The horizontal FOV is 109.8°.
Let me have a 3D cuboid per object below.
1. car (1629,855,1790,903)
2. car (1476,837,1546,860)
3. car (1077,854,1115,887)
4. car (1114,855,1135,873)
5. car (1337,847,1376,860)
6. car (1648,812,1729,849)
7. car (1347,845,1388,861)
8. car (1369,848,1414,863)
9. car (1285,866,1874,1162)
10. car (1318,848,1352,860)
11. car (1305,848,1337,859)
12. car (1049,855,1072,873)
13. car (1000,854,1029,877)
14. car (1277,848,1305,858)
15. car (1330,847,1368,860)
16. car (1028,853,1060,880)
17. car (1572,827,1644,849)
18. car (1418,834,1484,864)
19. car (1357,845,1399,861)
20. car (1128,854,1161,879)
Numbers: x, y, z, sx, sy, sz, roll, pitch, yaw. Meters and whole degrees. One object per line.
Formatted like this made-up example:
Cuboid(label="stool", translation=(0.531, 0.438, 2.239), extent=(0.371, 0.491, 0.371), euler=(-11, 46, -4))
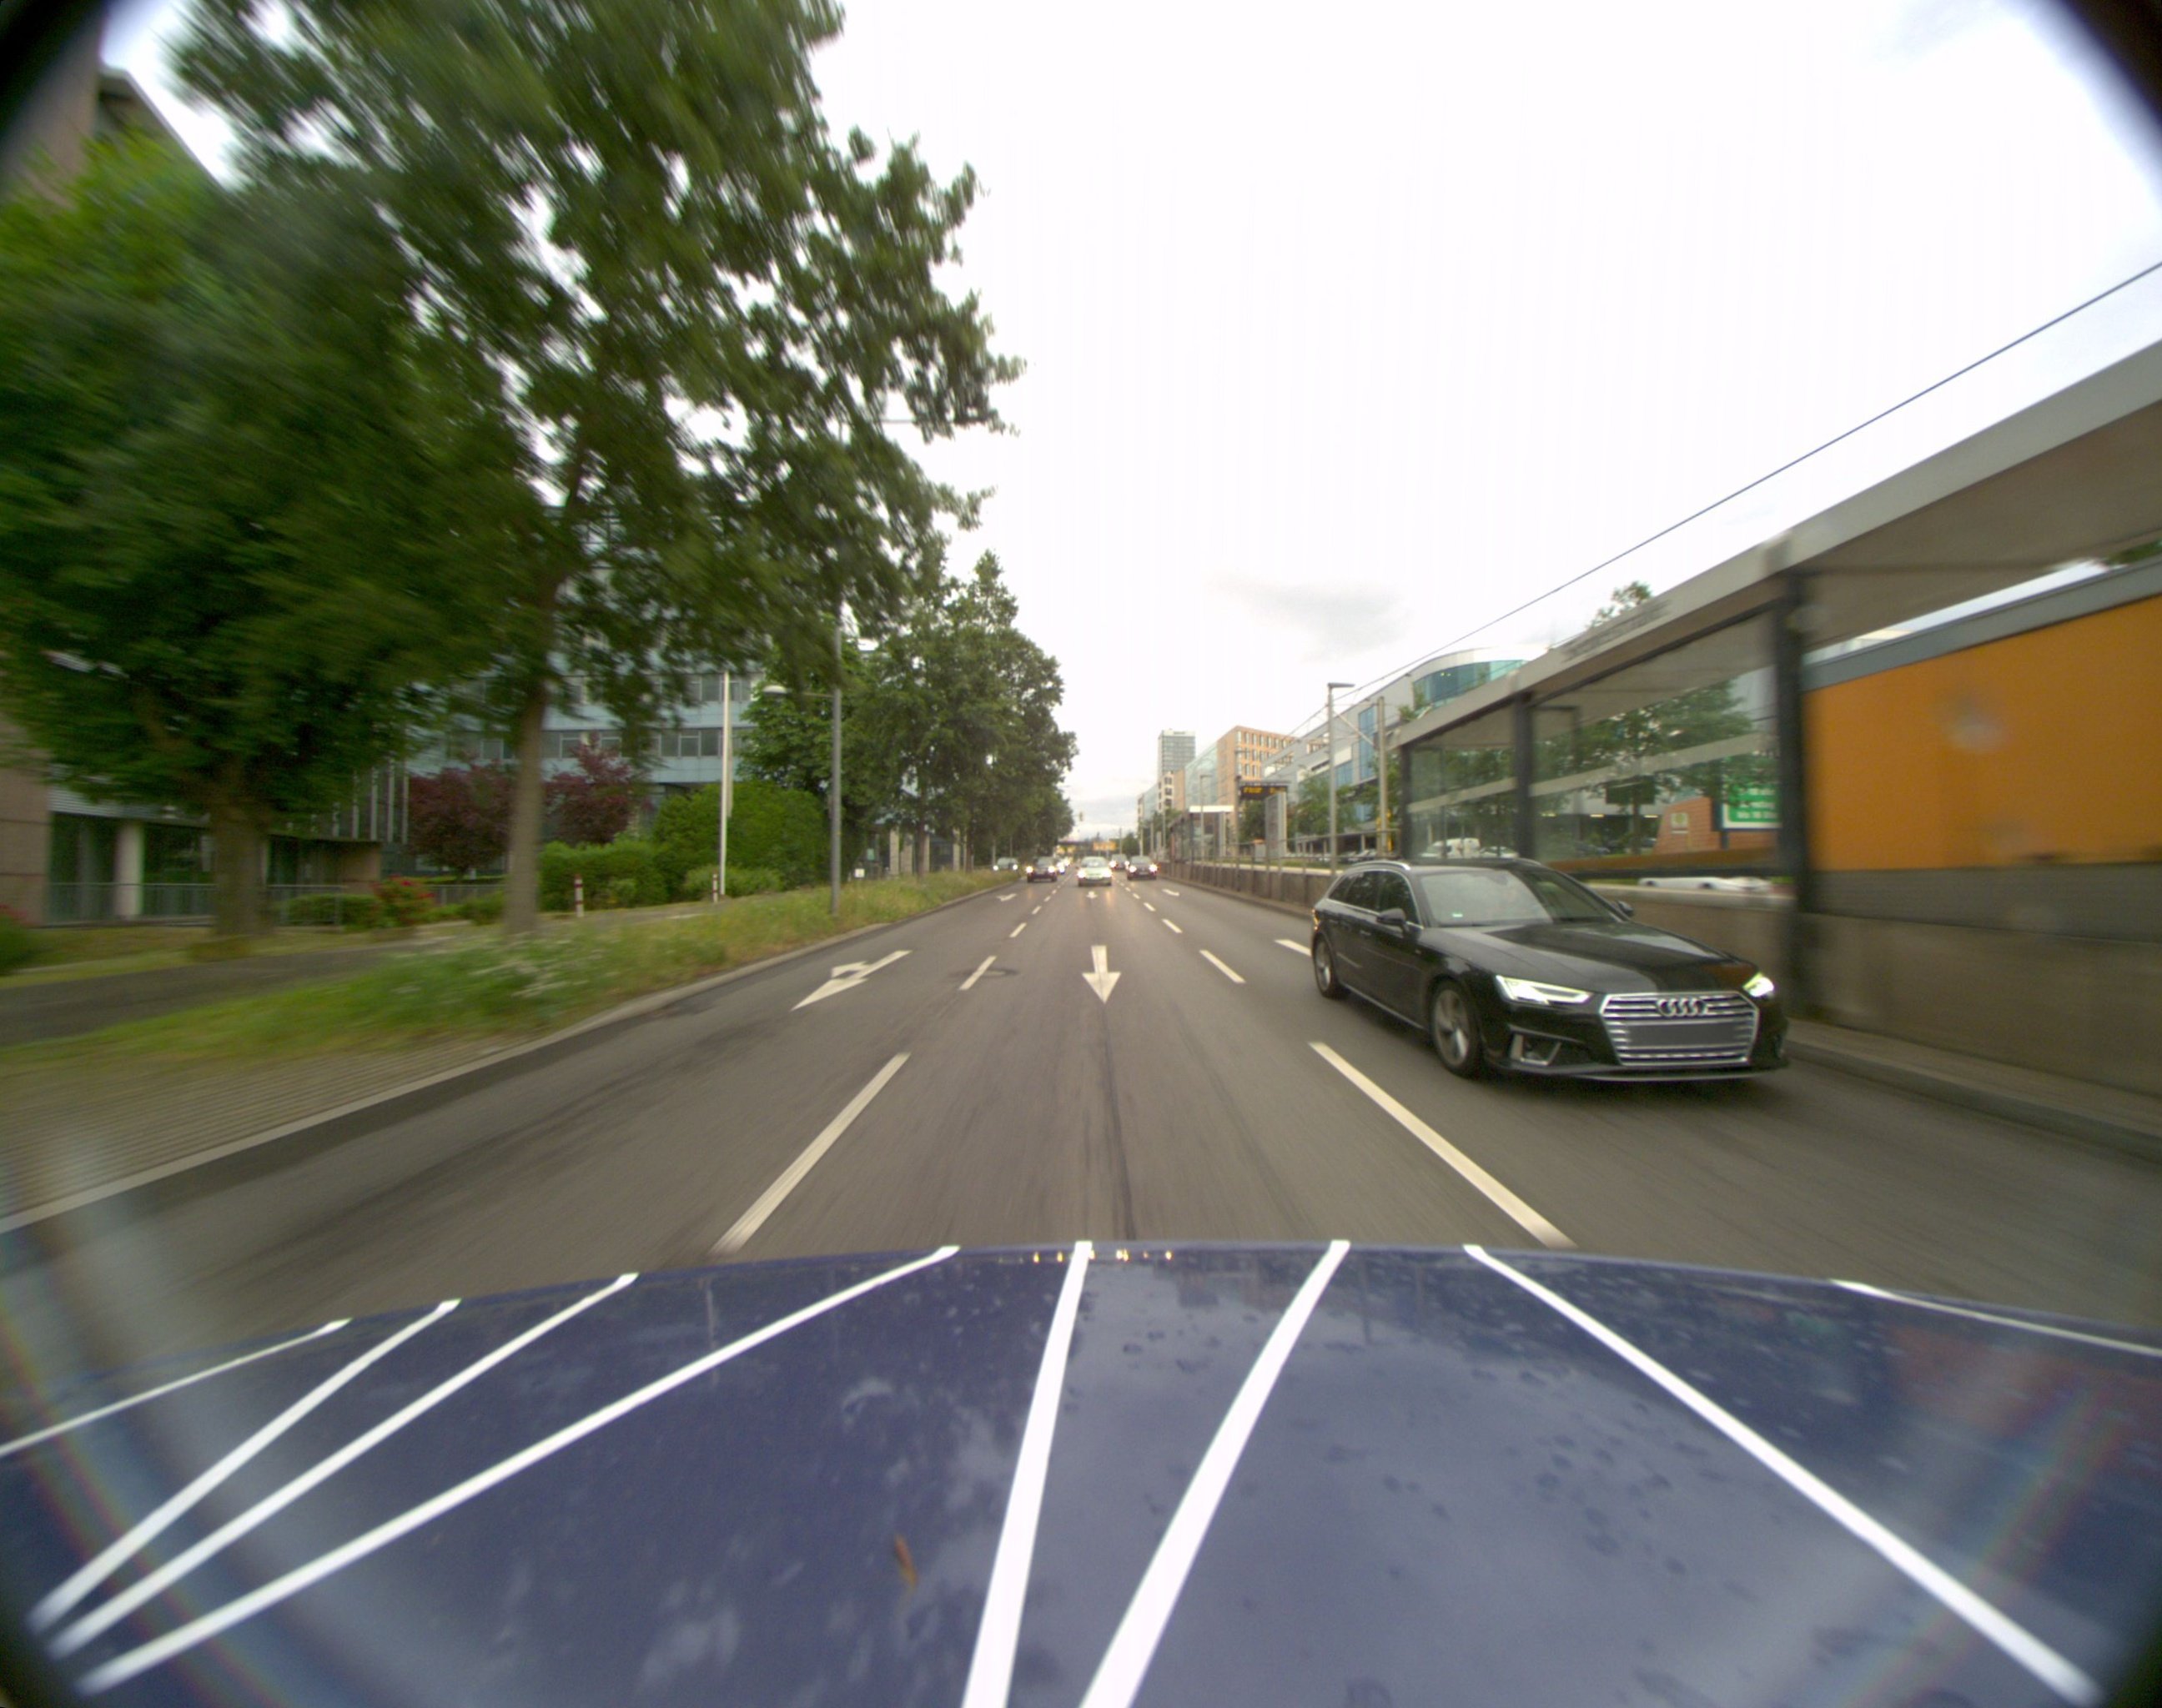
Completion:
Cuboid(label="car", translation=(23.123, 0.861, 28.237), extent=(1.999, 1.509, 4.706), euler=(-2, 1, -1))
Cuboid(label="car", translation=(40.836, -0.530, 72.268), extent=(5.483, 1.915, 2.278), euler=(-2, 1, -5))
Cuboid(label="car", translation=(0.755, 0.806, 38.822), extent=(1.803, 1.533, 4.374), euler=(-1, 0, 1))
Cuboid(label="car", translation=(4.266, 0.954, 74.818), extent=(1.781, 1.670, 4.131), euler=(-1, 0, 1))
Cuboid(label="car", translation=(33.312, -0.055, 91.945), extent=(3.999, 1.482, 1.823), euler=(-1, 0, -6))
Cuboid(label="car", translation=(58.474, -2.216, 73.185), extent=(5.483, 3.253, 2.999), euler=(-2, 1, -5))
Cuboid(label="car", translation=(33.546, -0.131, 88.996), extent=(3.999, 1.652, 1.921), euler=(-4, 0, -6))
Cuboid(label="car", translation=(33.285, 0.161, 81.562), extent=(3.999, 1.499, 1.896), euler=(-2, 1, -7))
Cuboid(label="car", translation=(3.250, 0.876, 6.375), extent=(1.794, 1.426, 4.828), euler=(-1, 0, 1))
Cuboid(label="car", translation=(33.693, 0.010, 100.750), extent=(3.845, 1.482, 1.821), euler=(-2, 0, -18))
Cuboid(label="car", translation=(33.424, -0.043, 105.805), extent=(3.845, 1.482, 1.821), euler=(-2, 0, -18))
Cuboid(label="car", translation=(-1.814, 0.890, 68.871), extent=(1.873, 1.533, 4.107), euler=(-1, 0, 1))
Cuboid(label="car", translation=(-5.176, 0.861, 59.601), extent=(1.816, 1.660, 4.370), euler=(-1, 0, 1))
Cuboid(label="car", translation=(33.043, -0.148, 119.428), extent=(3.845, 1.482, 1.821), euler=(-2, 0, -18))
Cuboid(label="car", translation=(33.564, -0.095, 95.204), extent=(3.999, 1.482, 1.823), euler=(-1, 0, -6))
Cuboid(label="car", translation=(-2.372, 0.794, 49.849), extent=(1.816, 1.660, 4.548), euler=(-1, 0, 1))
Cuboid(label="car", translation=(49.983, -1.501, 72.114), extent=(5.483, 1.915, 2.278), euler=(-2, 1, -5))
Cuboid(label="car", translation=(34.741, -0.480, 71.375), extent=(5.488, 2.614, 2.276), euler=(-2, 1, -17))
Cuboid(label="car", translation=(33.719, -0.105, 86.327), extent=(3.999, 1.652, 1.921), euler=(-3, 0, -6))
Cuboid(label="car", translation=(3.986, 0.746, 48.294), extent=(1.798, 1.493, 4.000), euler=(-1, 0, 1))
